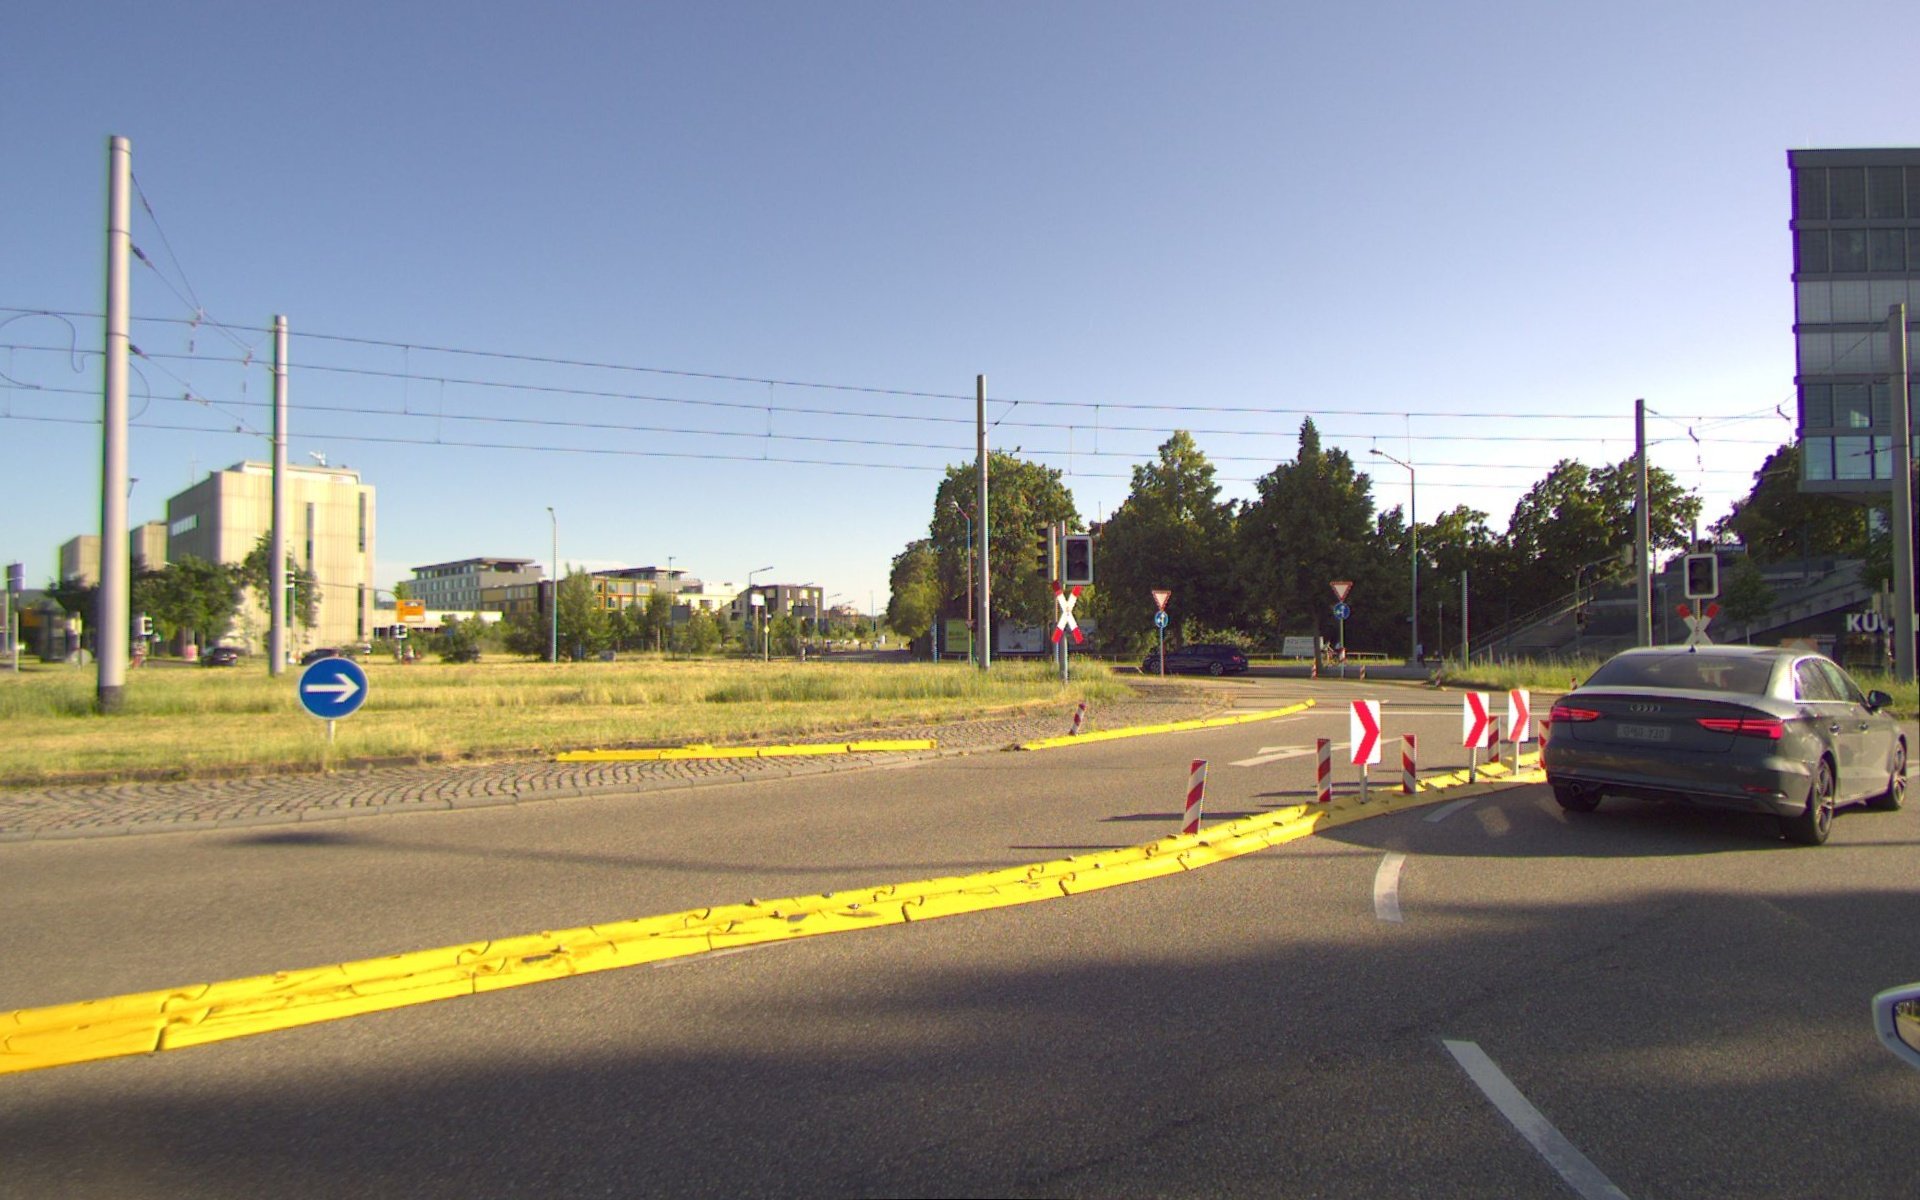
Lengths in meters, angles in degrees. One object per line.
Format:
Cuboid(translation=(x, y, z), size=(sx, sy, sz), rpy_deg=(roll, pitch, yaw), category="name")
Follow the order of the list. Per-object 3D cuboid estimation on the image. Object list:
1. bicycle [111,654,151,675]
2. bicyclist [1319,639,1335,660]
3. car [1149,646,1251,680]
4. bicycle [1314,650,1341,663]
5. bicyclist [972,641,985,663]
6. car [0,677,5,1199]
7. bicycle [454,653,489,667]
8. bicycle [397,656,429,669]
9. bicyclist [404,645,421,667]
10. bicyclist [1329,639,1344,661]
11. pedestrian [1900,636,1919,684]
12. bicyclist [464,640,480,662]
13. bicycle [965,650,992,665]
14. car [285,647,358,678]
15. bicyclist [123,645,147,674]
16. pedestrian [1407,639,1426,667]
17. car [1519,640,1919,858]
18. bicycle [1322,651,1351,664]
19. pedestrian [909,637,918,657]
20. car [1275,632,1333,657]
Cuboid(translation=(-48.691, 3.779, 59.008), size=(0.692, 1.143, 1.651), rpy_deg=(-1, -1, 34), category="bicycle")
Cuboid(translation=(25.046, 3.380, 68.529), size=(0.825, 1.410, 0.614), rpy_deg=(0, -2, -23), category="bicyclist")
Cuboid(translation=(11.404, 2.956, 47.756), size=(4.413, 1.507, 1.733), rpy_deg=(-1, -2, 32), category="car")
Cuboid(translation=(25.058, 3.863, 68.499), size=(1.862, 0.864, 0.614), rpy_deg=(0, -2, -24), category="bicycle")
Cuboid(translation=(1.298, 3.707, 71.660), size=(0.742, 1.487, 0.586), rpy_deg=(0, -1, 23), category="bicyclist")
Cuboid(translation=(-4.301, 0.914, 0.700), size=(4.938, 1.462, 1.791), rpy_deg=(0, 0, -19), category="car")
Cuboid(translation=(-35.351, 4.349, 72.708), size=(2.217, 1.001, 0.663), rpy_deg=(-1, -2, 4), category="bicycle")
Cuboid(translation=(-38.282, 4.397, 70.321), size=(1.874, 0.864, 0.610), rpy_deg=(1, -3, -41), category="bicycle")
Cuboid(translation=(-38.326, 3.926, 70.299), size=(0.918, 1.537, 0.610), rpy_deg=(1, -3, -41), category="bicyclist")
Cuboid(translation=(25.230, 3.359, 67.287), size=(0.709, 1.410, 0.614), rpy_deg=(0, -2, -23), category="bicyclist")
Cuboid(translation=(30.360, 1.895, 31.809), size=(0.664, 1.485, 0.556), rpy_deg=(0, -1, -1), category="pedestrian")
Cuboid(translation=(-35.345, 3.707, 72.699), size=(0.818, 1.601, 0.663), rpy_deg=(-1, -2, 4), category="bicyclist")
Cuboid(translation=(1.294, 4.122, 71.663), size=(1.834, 1.025, 0.586), rpy_deg=(-1, -1, 23), category="bicycle")
Cuboid(translation=(-39.226, 3.829, 61.734), size=(3.840, 1.808, 1.776), rpy_deg=(-2, -2, 18), category="car")
Cuboid(translation=(-48.592, 3.508, 59.184), size=(0.692, 1.685, 0.940), rpy_deg=(-1, -1, 34), category="bicyclist")
Cuboid(translation=(26.884, 3.100, 59.138), size=(0.746, 1.650, 0.886), rpy_deg=(-1, -2, 6), category="pedestrian")
Cuboid(translation=(6.597, 1.046, 8.548), size=(4.321, 1.398, 1.746), rpy_deg=(2, -3, -39), category="car")
Cuboid(translation=(25.219, 3.843, 67.263), size=(1.862, 0.864, 0.614), rpy_deg=(0, -2, -24), category="bicycle")
Cuboid(translation=(-4.745, 4.777, 103.048), size=(0.884, 2.040, 0.818), rpy_deg=(0, -1, -4), category="pedestrian")
Cuboid(translation=(26.149, 3.422, 76.404), size=(1.826, 1.829, 3.697), rpy_deg=(1, -3, -43), category="car")
